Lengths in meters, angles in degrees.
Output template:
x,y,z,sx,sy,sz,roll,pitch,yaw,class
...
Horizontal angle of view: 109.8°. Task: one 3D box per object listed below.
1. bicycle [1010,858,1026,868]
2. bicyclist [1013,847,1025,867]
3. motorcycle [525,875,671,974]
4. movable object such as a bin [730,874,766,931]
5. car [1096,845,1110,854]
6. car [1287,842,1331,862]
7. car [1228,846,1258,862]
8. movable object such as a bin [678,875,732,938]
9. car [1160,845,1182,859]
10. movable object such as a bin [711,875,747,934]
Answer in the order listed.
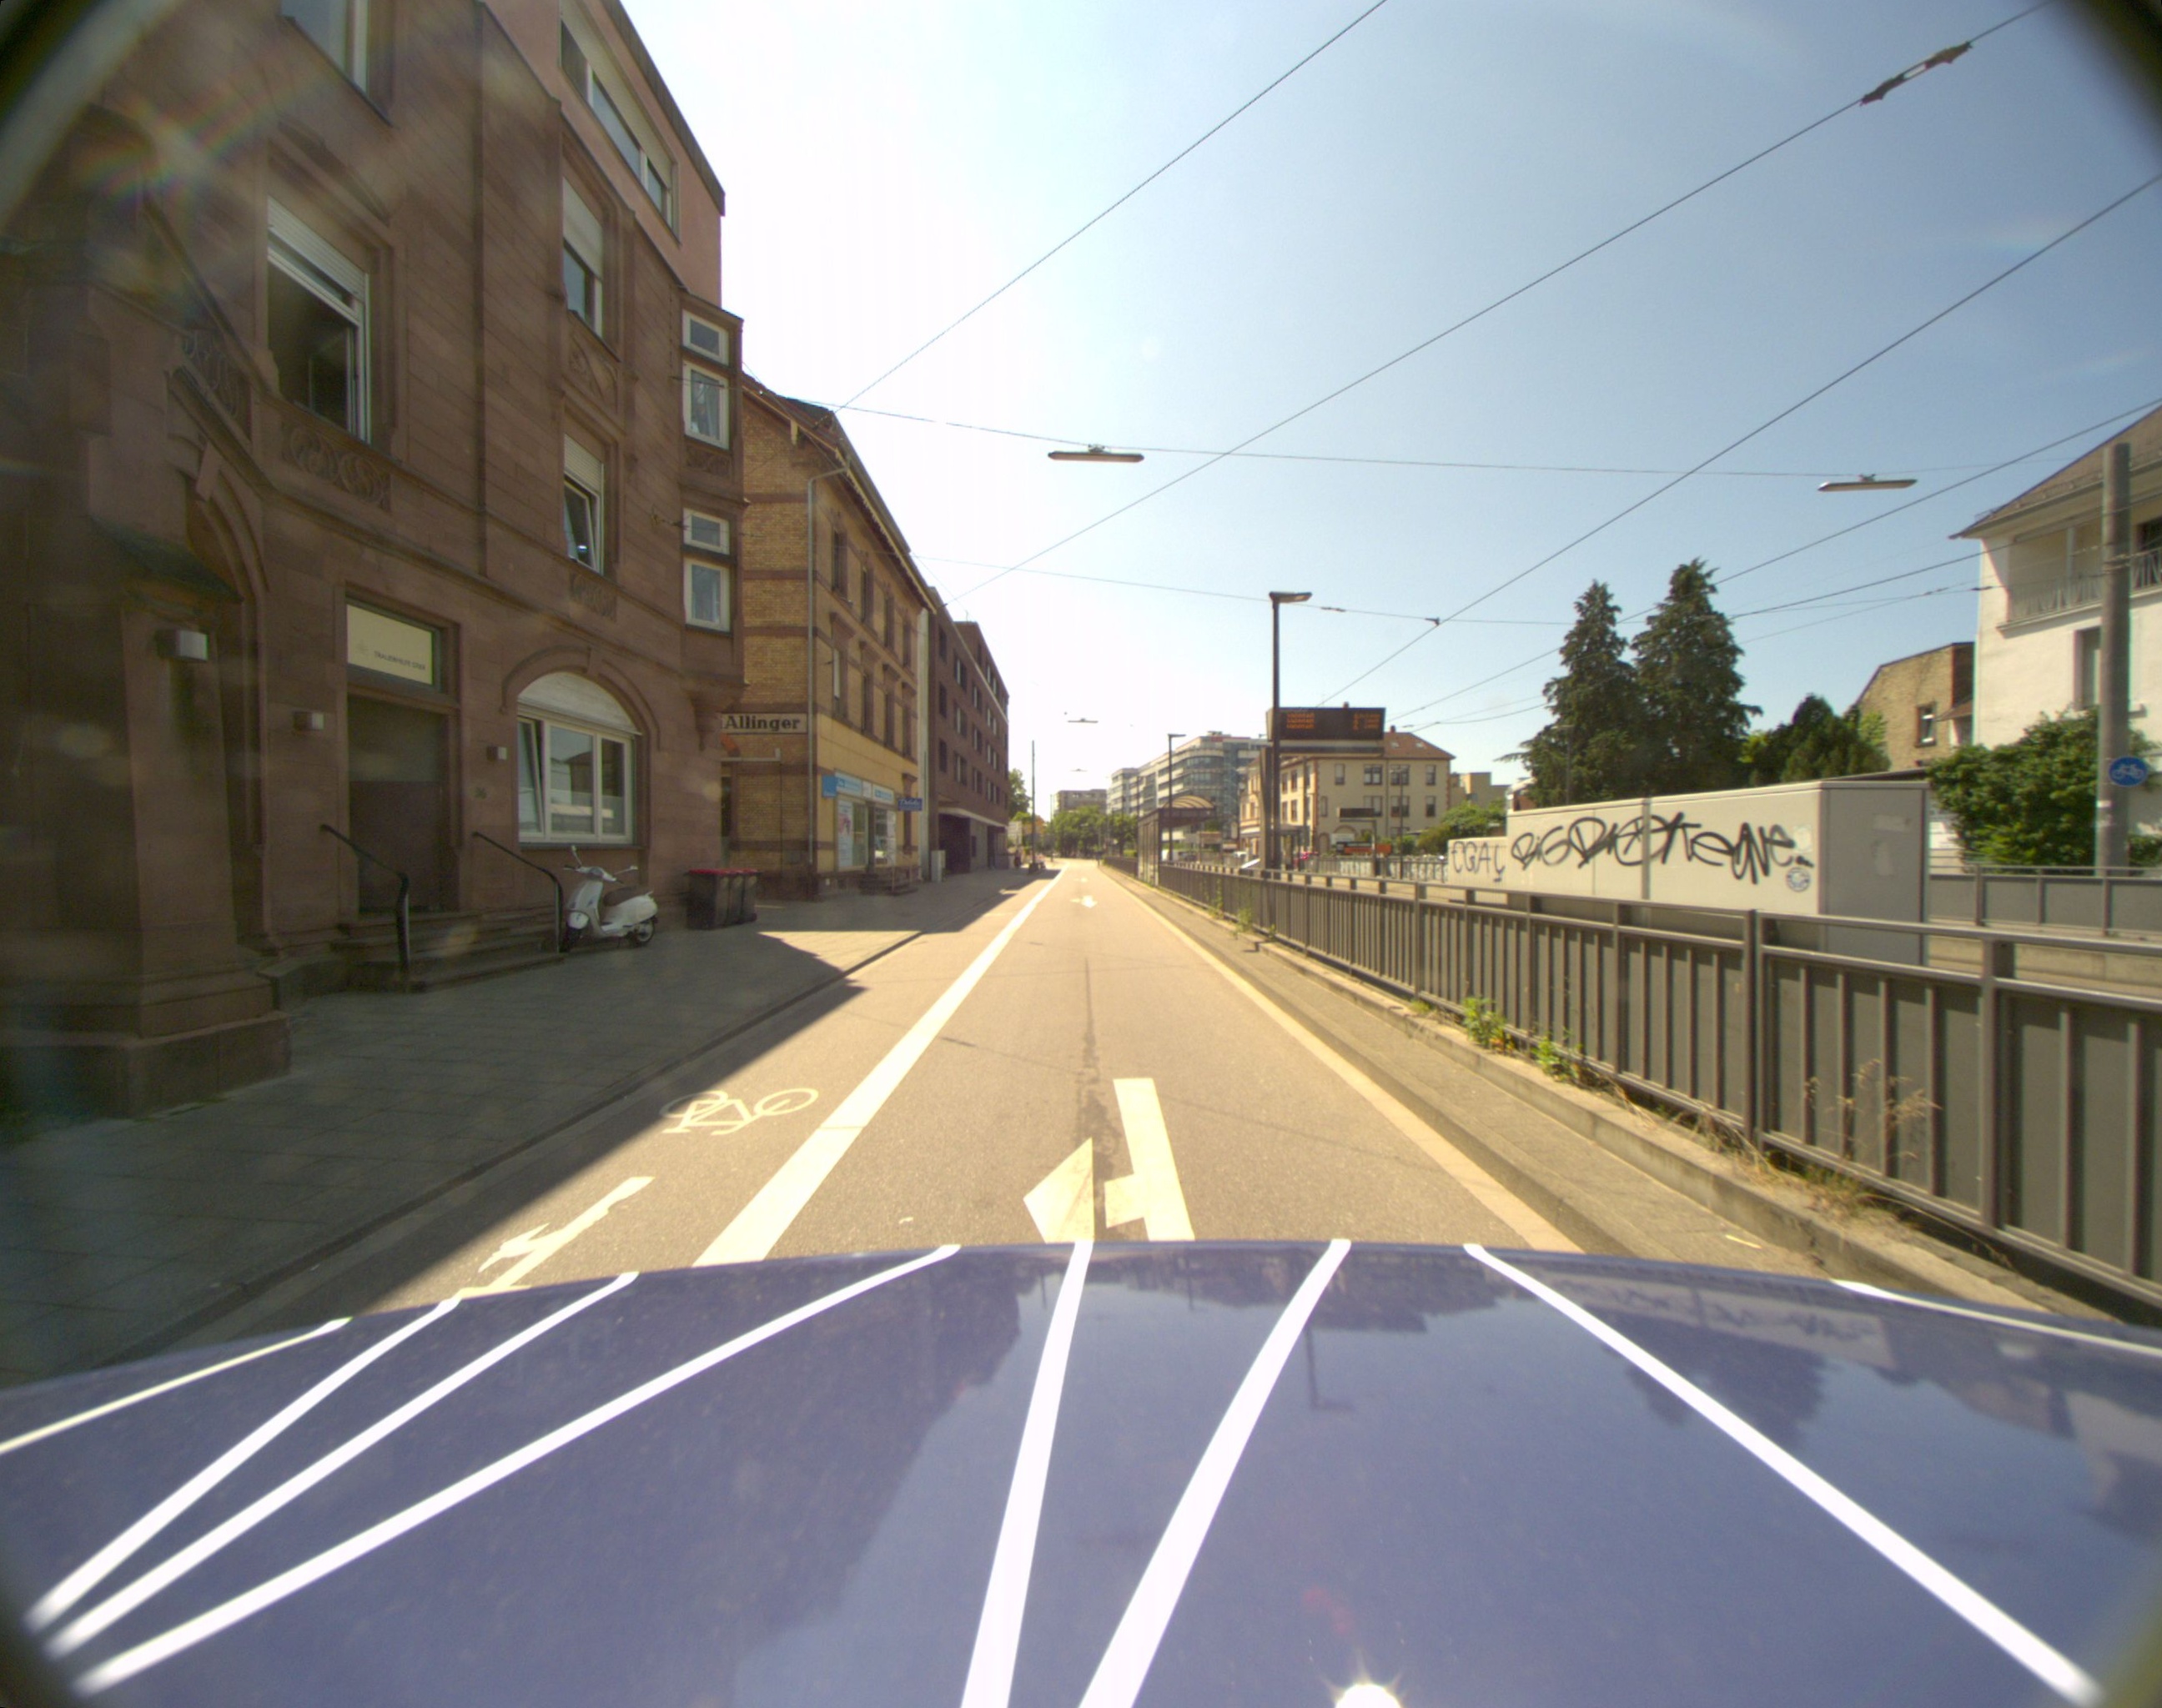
x,y,z,sx,sy,sz,roll,pitch,yaw,class
-5.297,0.736,63.978,0.689,0.793,1.910,0,1,14,bicycle
-5.238,0.254,64.192,0.670,1.712,0.929,0,1,14,bicyclist
-6.404,0.883,10.206,0.527,1.142,1.881,0,1,9,motorcycle
-6.409,0.919,14.627,0.376,1.042,0.657,2,1,0,movable object such as a bin
4.223,-0.876,146.391,2.000,1.827,3.996,-1,1,-10,car
16.476,-0.125,55.133,1.823,1.387,4.174,0,0,-1,car
15.507,0.002,73.004,1.823,1.459,4.622,0,0,-1,car
-6.626,0.909,13.402,0.649,1.042,0.559,2,1,0,movable object such as a bin
12.004,-0.316,101.433,1.862,1.806,4.694,1,1,-8,car
-6.463,0.923,13.979,0.376,1.042,0.559,2,1,0,movable object such as a bin
